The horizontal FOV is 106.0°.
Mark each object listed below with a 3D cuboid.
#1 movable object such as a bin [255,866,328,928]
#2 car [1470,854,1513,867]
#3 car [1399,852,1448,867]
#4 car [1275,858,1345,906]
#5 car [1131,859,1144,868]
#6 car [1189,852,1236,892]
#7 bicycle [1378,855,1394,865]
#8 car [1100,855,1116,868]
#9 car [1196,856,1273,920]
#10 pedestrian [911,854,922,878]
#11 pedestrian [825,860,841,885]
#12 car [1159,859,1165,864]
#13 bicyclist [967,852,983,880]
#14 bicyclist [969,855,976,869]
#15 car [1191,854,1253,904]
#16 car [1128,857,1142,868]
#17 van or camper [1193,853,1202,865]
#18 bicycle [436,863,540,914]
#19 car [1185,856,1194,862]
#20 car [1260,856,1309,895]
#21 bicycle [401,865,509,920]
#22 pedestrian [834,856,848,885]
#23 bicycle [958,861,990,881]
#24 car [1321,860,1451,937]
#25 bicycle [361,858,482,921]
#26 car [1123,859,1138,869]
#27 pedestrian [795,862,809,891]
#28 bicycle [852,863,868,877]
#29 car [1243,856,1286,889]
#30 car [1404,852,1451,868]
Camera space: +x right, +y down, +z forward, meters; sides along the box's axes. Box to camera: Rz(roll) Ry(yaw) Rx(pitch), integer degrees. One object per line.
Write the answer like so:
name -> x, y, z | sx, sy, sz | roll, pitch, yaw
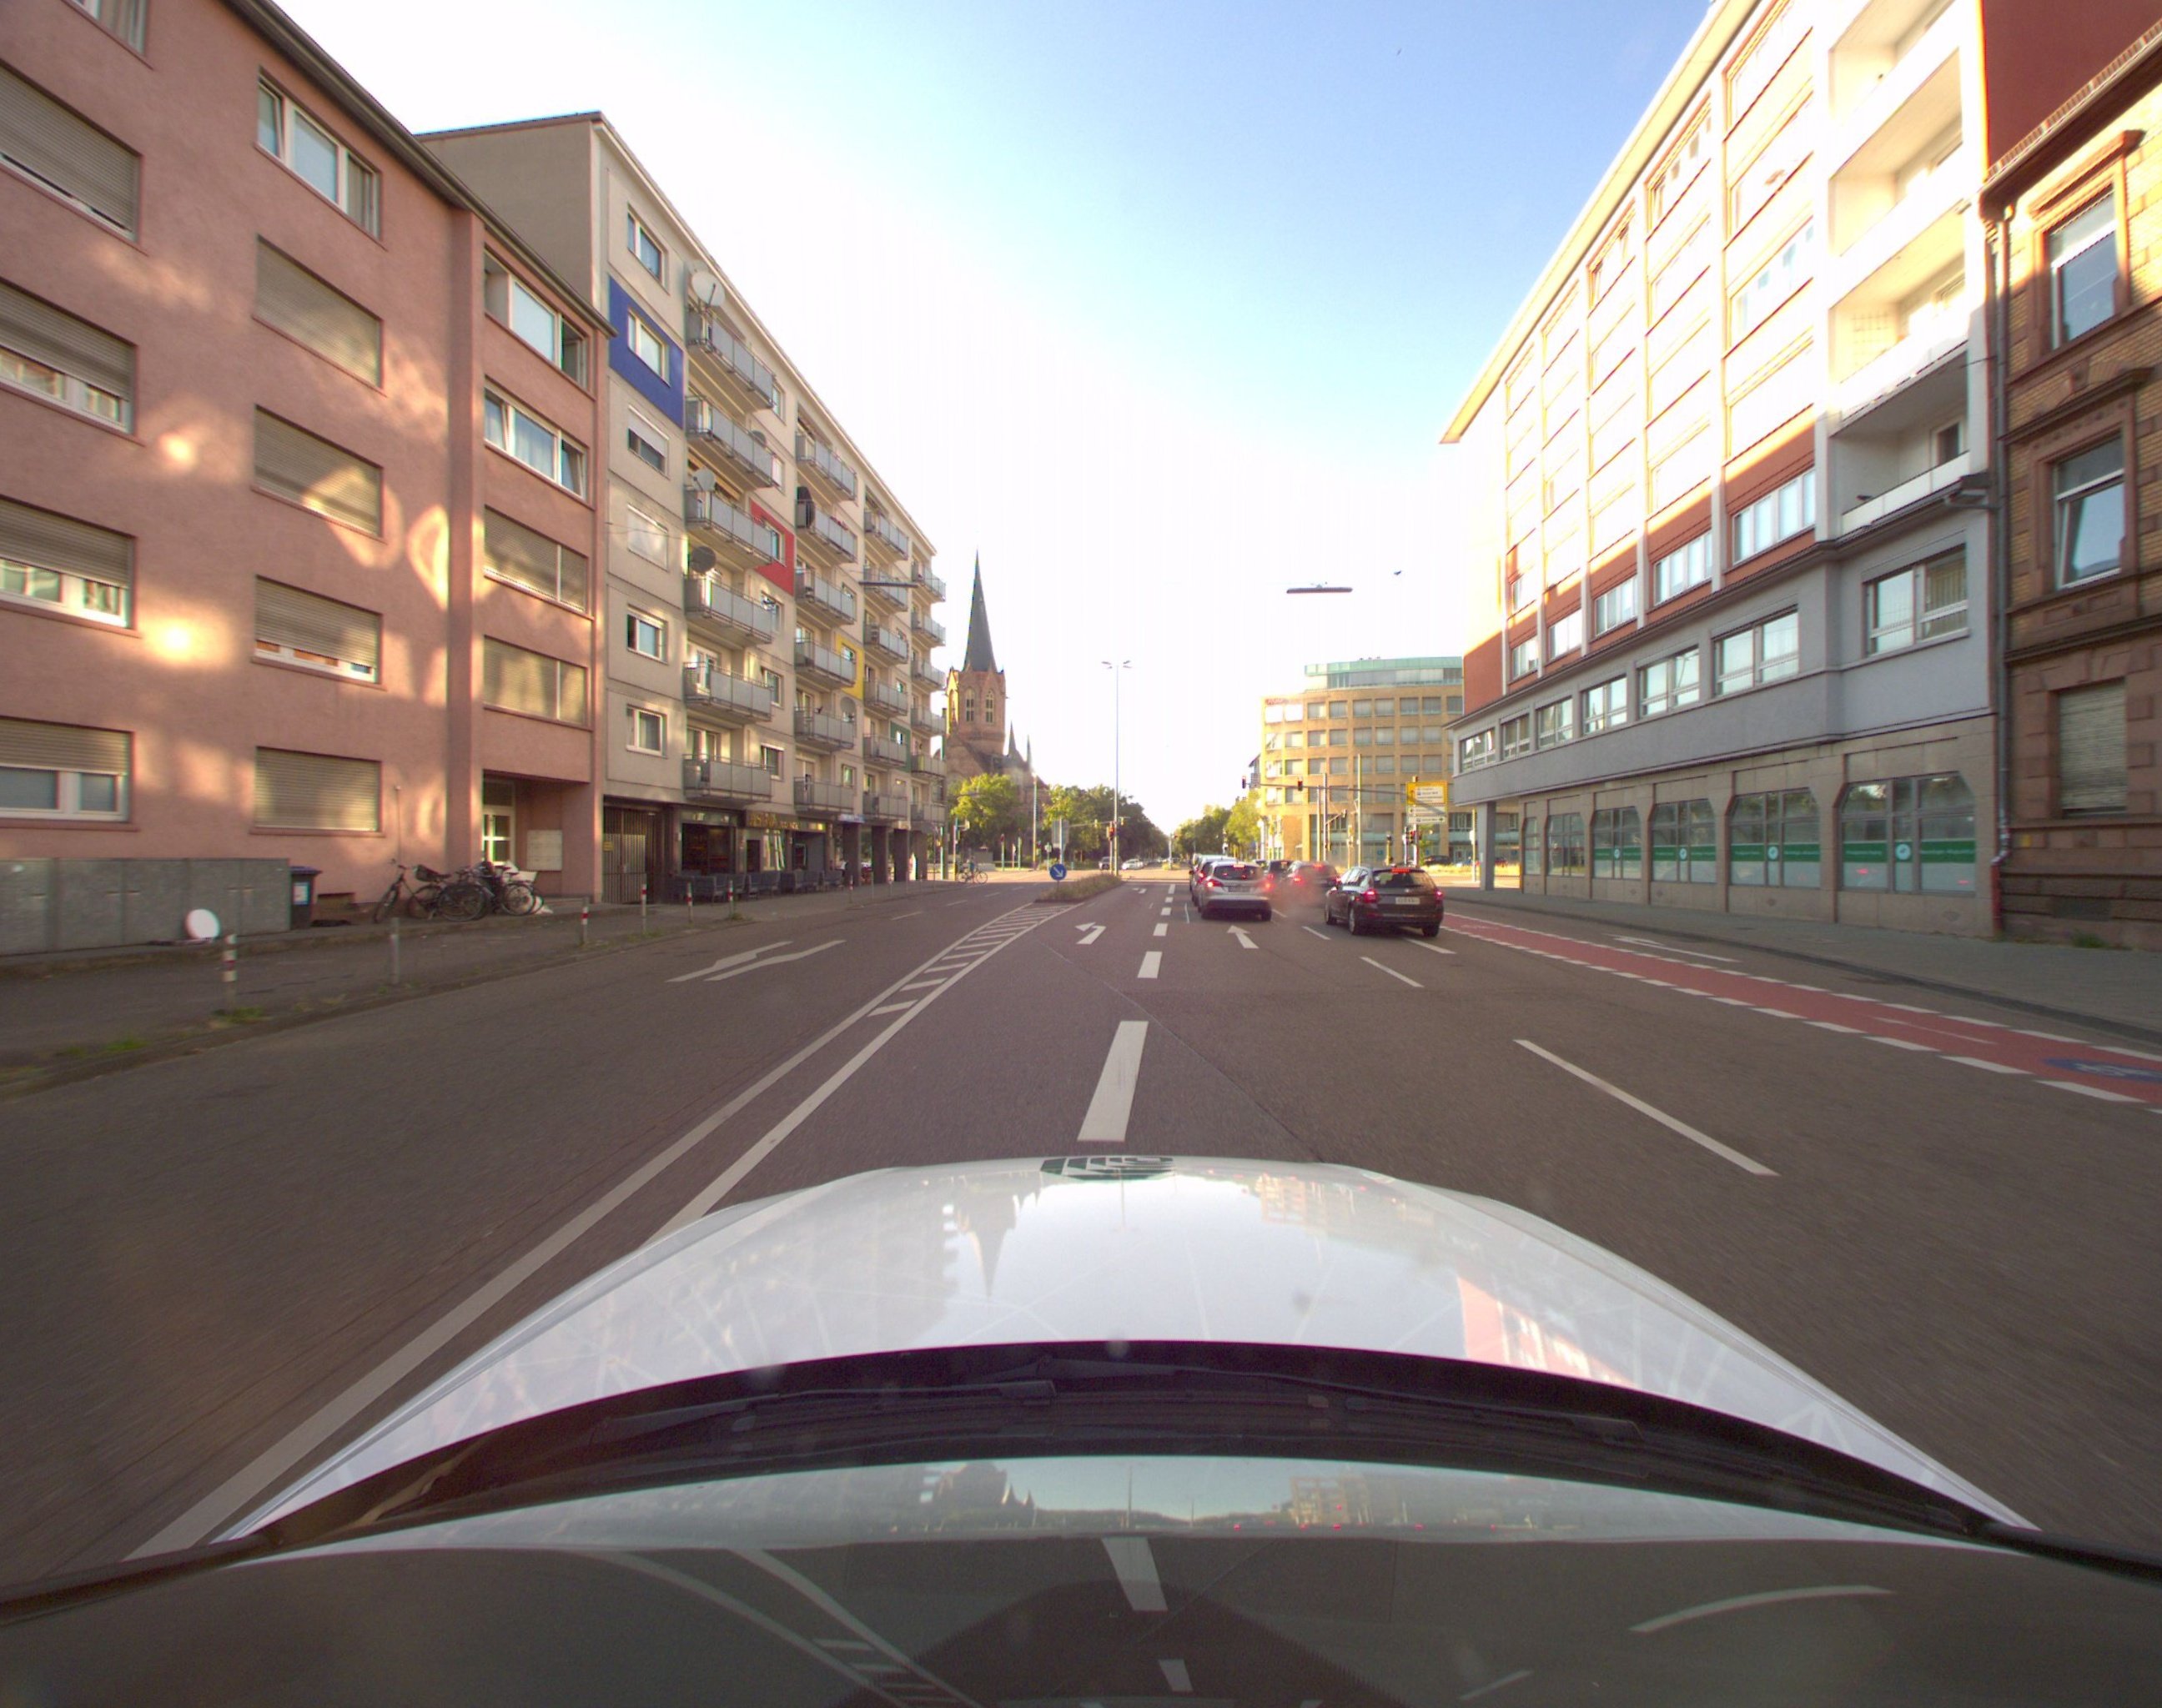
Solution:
movable object such as a bin -> -13.416, 0.723, 13.853 | 0.671, 1.032, 0.590 | 0, 0, 6
car -> 42.853, 0.678, 85.073 | 3.589, 1.342, 1.725 | 0, 0, 7
car -> 37.236, 0.572, 88.617 | 4.626, 1.598, 2.002 | 0, 0, 4
car -> 7.727, 0.892, 27.803 | 1.642, 1.484, 4.247 | 1, 0, 7
car -> 8.355, 1.373, 120.335 | 1.770, 1.236, 4.008 | 0, 0, 7
car -> 5.661, 0.747, 35.434 | 1.775, 1.632, 4.486 | 0, 0, 6
bicycle -> 34.244, 0.664, 91.448 | 1.512, 1.172, 0.476 | 0, 0, 5
car -> 3.546, 1.022, 107.366 | 1.770, 1.647, 4.008 | 0, 0, 7
car -> 4.016, 0.828, 21.865 | 1.699, 1.510, 4.317 | 1, 0, 7
pedestrian -> -11.197, 0.826, 55.431 | 0.463, 1.642, 0.580 | 0, 0, 26
pedestrian -> -12.402, 0.901, 40.783 | 0.551, 1.239, 0.533 | 0, 0, 21
car -> 24.725, 2.201, 249.505 | 1.770, 1.449, 4.008 | 0, 0, 7
bicyclist -> -6.413, 0.732, 49.134 | 0.779, 1.660, 0.902 | 0, 0, 4
bicyclist -> -13.684, 1.013, 103.059 | 0.777, 1.694, 0.640 | 0, 0, -2
car -> 4.694, 0.795, 27.466 | 1.795, 1.568, 3.624 | 0, 0, 5
car -> 7.531, 1.143, 113.008 | 1.770, 1.464, 4.008 | 0, 0, 7
van or camper -> 26.336, 1.030, 184.466 | 1.982, 2.640, 5.362 | 0, 0, 8
bicycle -> -12.397, 0.719, 17.054 | 1.669, 1.041, 0.548 | 1, -1, -9
car -> 28.747, 1.351, 215.538 | 1.985, 1.592, 4.004 | 0, 0, 3
car -> 8.444, 0.864, 33.990 | 1.482, 1.505, 3.484 | 0, 0, 5
bicycle -> -12.454, 0.752, 16.224 | 1.664, 1.041, 0.549 | 1, -1, -1
pedestrian -> -11.583, 0.789, 39.321 | 0.479, 1.384, 0.484 | 0, 0, 27
bicycle -> -6.432, 1.006, 48.939 | 1.818, 1.188, 0.735 | 0, 0, 5
car -> 6.498, 0.877, 17.811 | 1.698, 1.457, 4.166 | 0, 0, 7
bicycle -> -12.448, 0.670, 15.414 | 1.675, 1.160, 0.493 | 1, -1, -20
car -> 6.480, 1.260, 106.496 | 1.770, 1.236, 4.008 | 0, 0, 7
pedestrian -> -11.952, 0.948, 34.898 | 0.524, 1.203, 0.548 | 0, 0, -25
bicycle -> -15.310, 1.103, 56.413 | 0.494, 0.907, 1.706 | 0, 0, 6
car -> 8.808, 0.852, 39.307 | 1.576, 1.446, 3.654 | 1, 0, 6
car -> 36.596, 0.598, 86.021 | 4.205, 1.614, 2.005 | 0, 0, 8
